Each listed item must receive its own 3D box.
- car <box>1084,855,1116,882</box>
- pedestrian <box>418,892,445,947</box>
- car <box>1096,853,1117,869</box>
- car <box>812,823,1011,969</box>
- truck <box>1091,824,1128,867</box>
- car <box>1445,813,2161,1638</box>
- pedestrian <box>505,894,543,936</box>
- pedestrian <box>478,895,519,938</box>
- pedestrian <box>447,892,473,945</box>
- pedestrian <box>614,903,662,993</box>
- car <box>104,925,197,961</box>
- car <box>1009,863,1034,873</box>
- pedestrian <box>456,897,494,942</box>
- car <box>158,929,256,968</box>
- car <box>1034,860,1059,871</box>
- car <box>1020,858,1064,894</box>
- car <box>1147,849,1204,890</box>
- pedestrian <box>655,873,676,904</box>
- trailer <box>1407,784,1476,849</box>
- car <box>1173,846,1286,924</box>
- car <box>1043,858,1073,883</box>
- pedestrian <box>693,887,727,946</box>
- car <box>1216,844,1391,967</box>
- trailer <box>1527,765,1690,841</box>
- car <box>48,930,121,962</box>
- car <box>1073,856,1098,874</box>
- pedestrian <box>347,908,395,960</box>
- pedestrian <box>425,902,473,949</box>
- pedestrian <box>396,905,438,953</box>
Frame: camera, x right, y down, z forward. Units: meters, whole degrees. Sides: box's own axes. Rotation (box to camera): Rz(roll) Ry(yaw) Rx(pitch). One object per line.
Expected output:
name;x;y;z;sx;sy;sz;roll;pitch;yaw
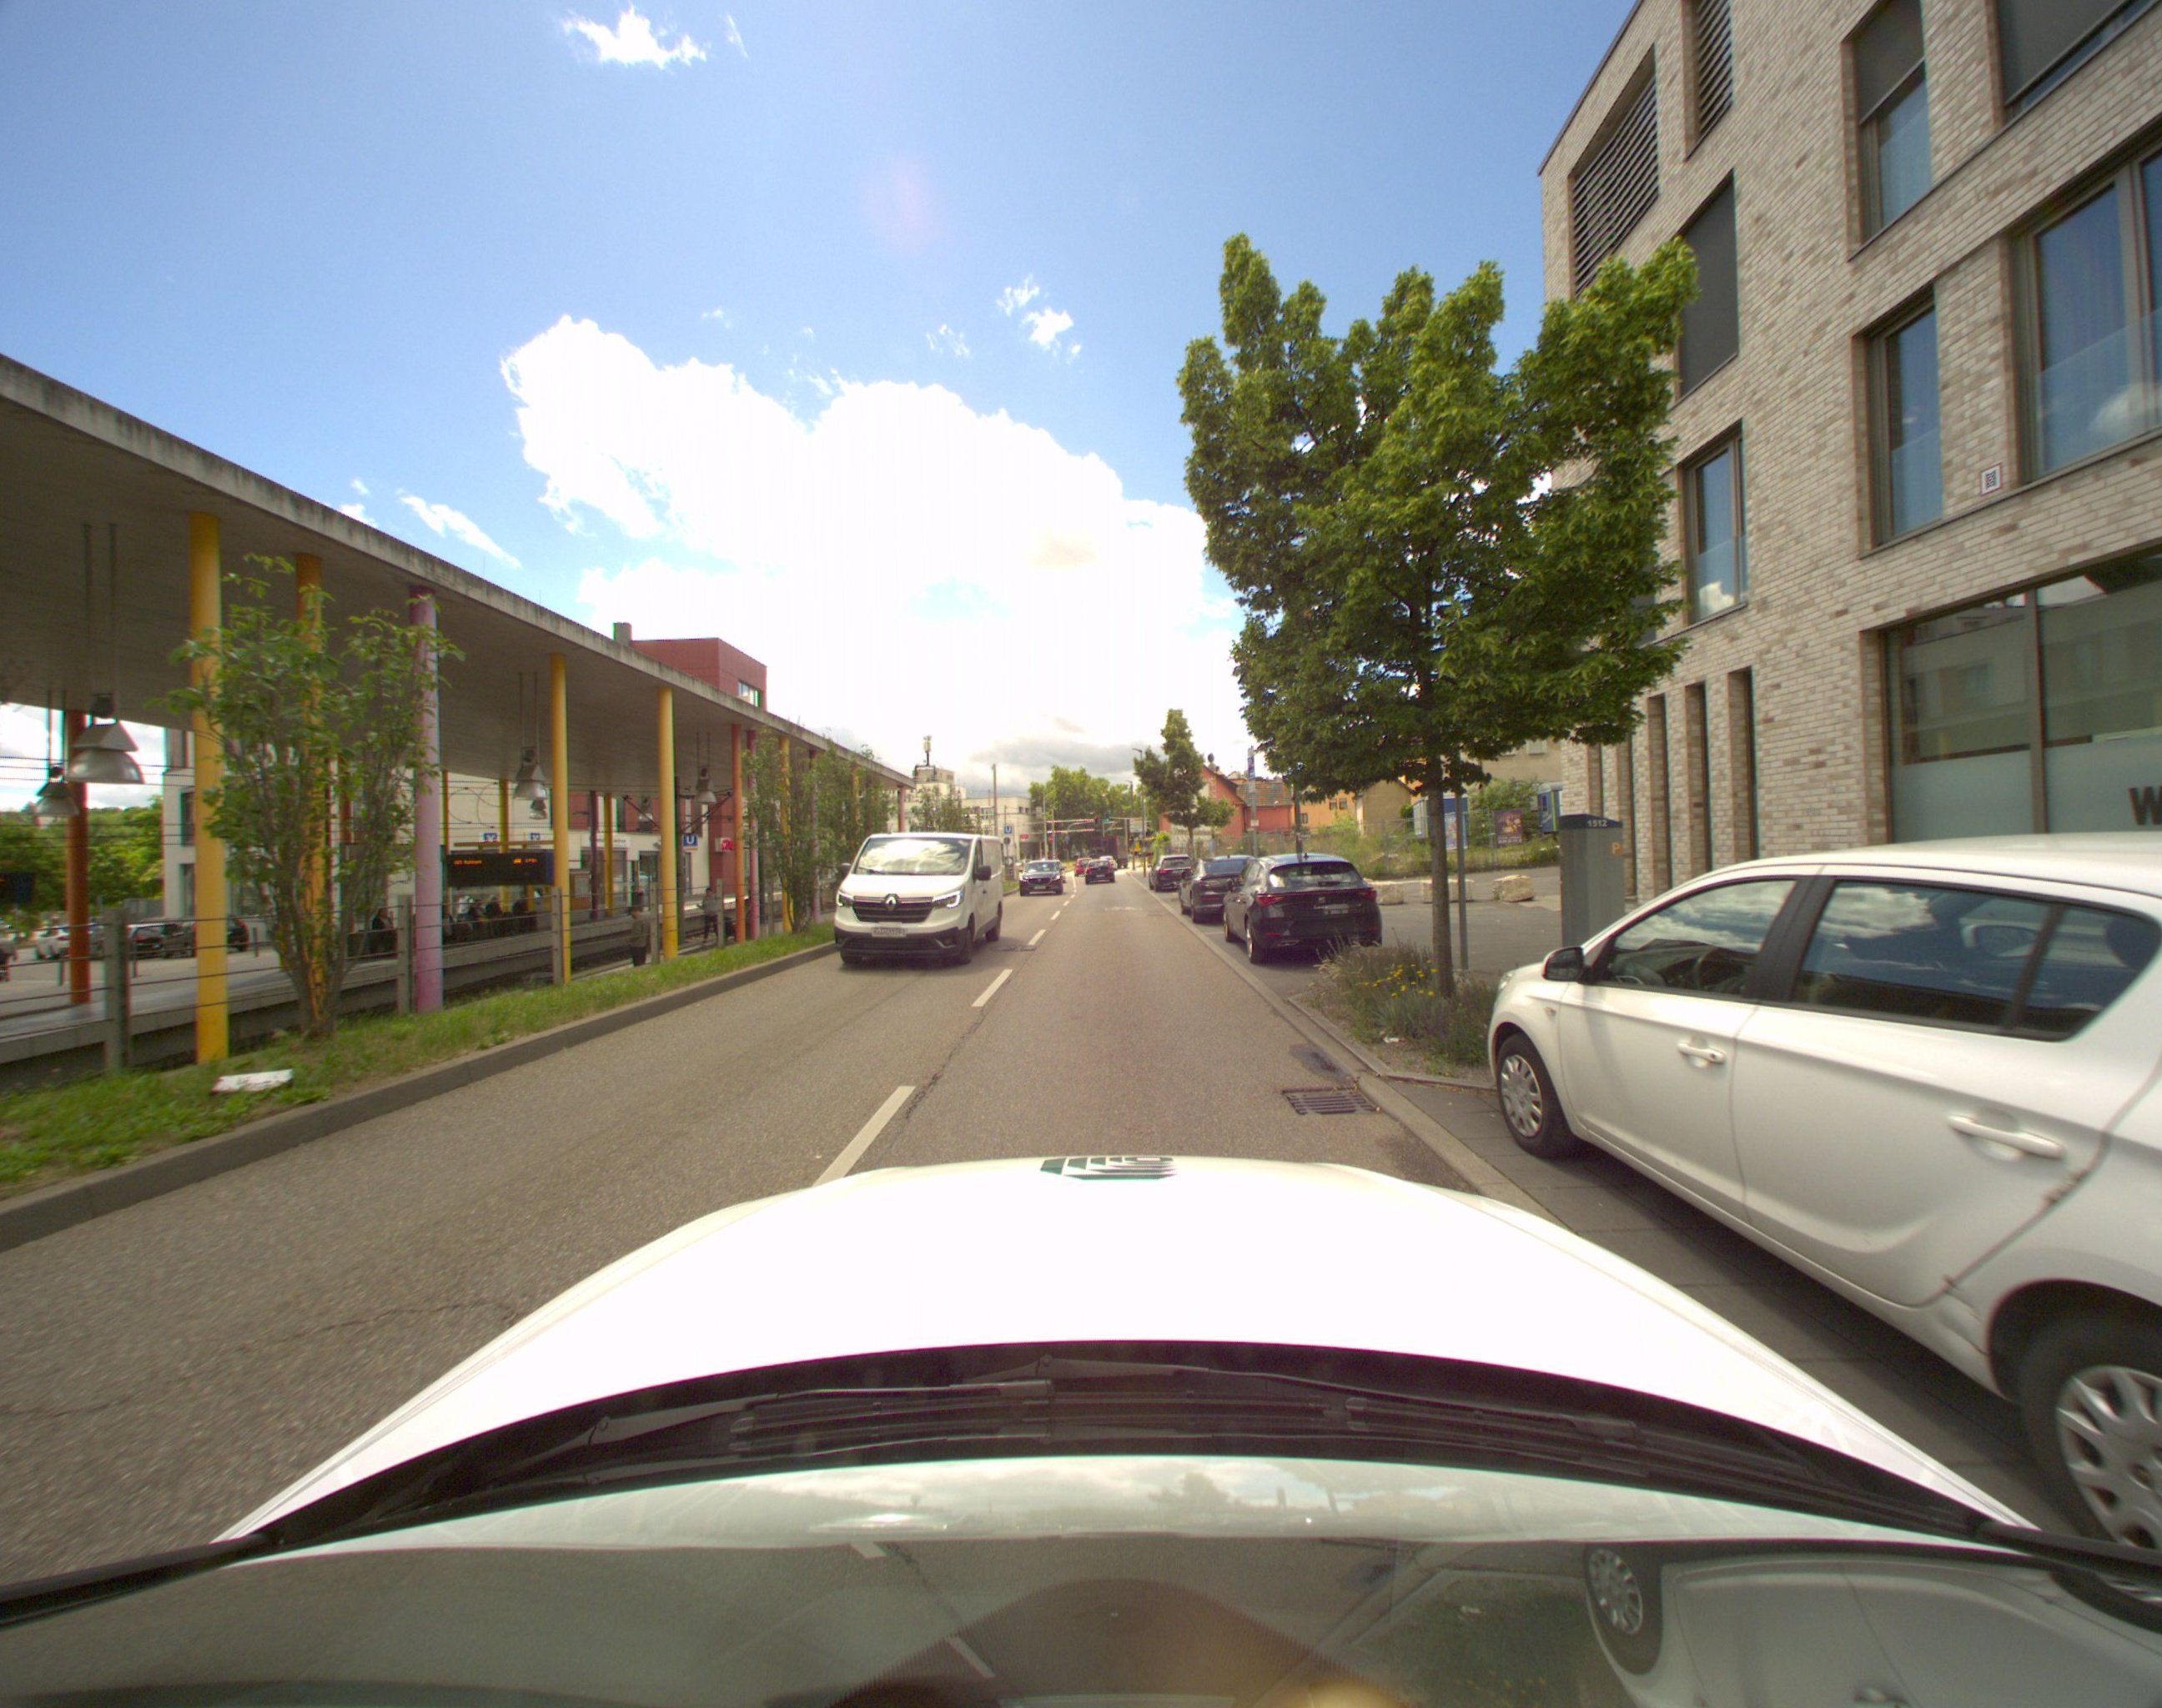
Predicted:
car;1.078;0.818;48.252;1.721;1.456;3.807;-3;0;-1
pedestrian;-22.165;2.228;27.791;0.481;1.820;0.492;-1;1;-1
car;2.525;0.744;81.565;1.883;1.465;4.067;-3;-1;-1
car;-2.481;0.575;13.387;1.996;1.917;5.067;-1;0;2
truck;3.367;-0.823;93.220;3.184;4.536;9.050;-1;-2;9
car;2.877;0.651;2.814;1.685;1.483;3.801;-3;0;4
pedestrian;-19.368;2.108;28.322;0.819;1.379;0.702;-1;0;2
pedestrian;-19.516;2.081;27.297;0.819;1.379;0.702;-1;0;2
pedestrian;-21.235;2.200;27.849;0.481;1.775;0.492;-1;1;-1
pedestrian;-9.337;1.964;17.193;0.584;1.830;0.710;-1;-2;4
car;-40.151;3.841;35.125;3.672;1.325;1.657;-5;-4;25
car;-10.241;2.360;139.590;1.974;1.464;4.025;-2;-1;41
pedestrian;-19.591;2.120;26.340;0.649;1.379;0.702;-1;0;2
car;-35.580;3.861;33.152;3.672;1.325;1.657;-5;-4;25
car;-6.124;2.062;144.644;1.974;1.600;4.226;-2;0;41
car;-1.672;0.929;35.990;1.719;1.521;4.254;0;0;0
car;3.785;0.611;33.385;1.776;1.451;4.476;-4;0;0
pedestrian;-22.332;1.865;43.811;0.654;1.650;0.843;-1;-2;2
trailer;19.390;-1.928;44.141;2.386;3.122;6.186;-3;0;15
car;3.270;0.636;18.779;1.857;1.451;4.646;-3;0;2
car;-1.480;1.031;52.708;1.766;1.508;3.997;-3;0;-2
pedestrian;-10.493;1.768;23.072;0.627;1.614;0.636;-1;0;3
car;3.144;0.654;12.364;1.685;1.461;4.150;-3;0;3
trailer;25.607;-2.420;39.822;6.100;3.122;2.420;-3;-1;11
car;-49.000;4.521;40.036;3.670;1.325;1.657;-6;-4;29
car;0.347;0.867;65.985;1.708;1.393;3.803;-3;0;-4
pedestrian;-19.915;2.237;22.854;0.683;1.379;0.705;-1;0;2
pedestrian;-19.549;2.193;25.210;0.923;1.379;0.702;-1;0;2
pedestrian;-19.816;2.230;24.326;0.649;1.379;0.702;-1;0;2
